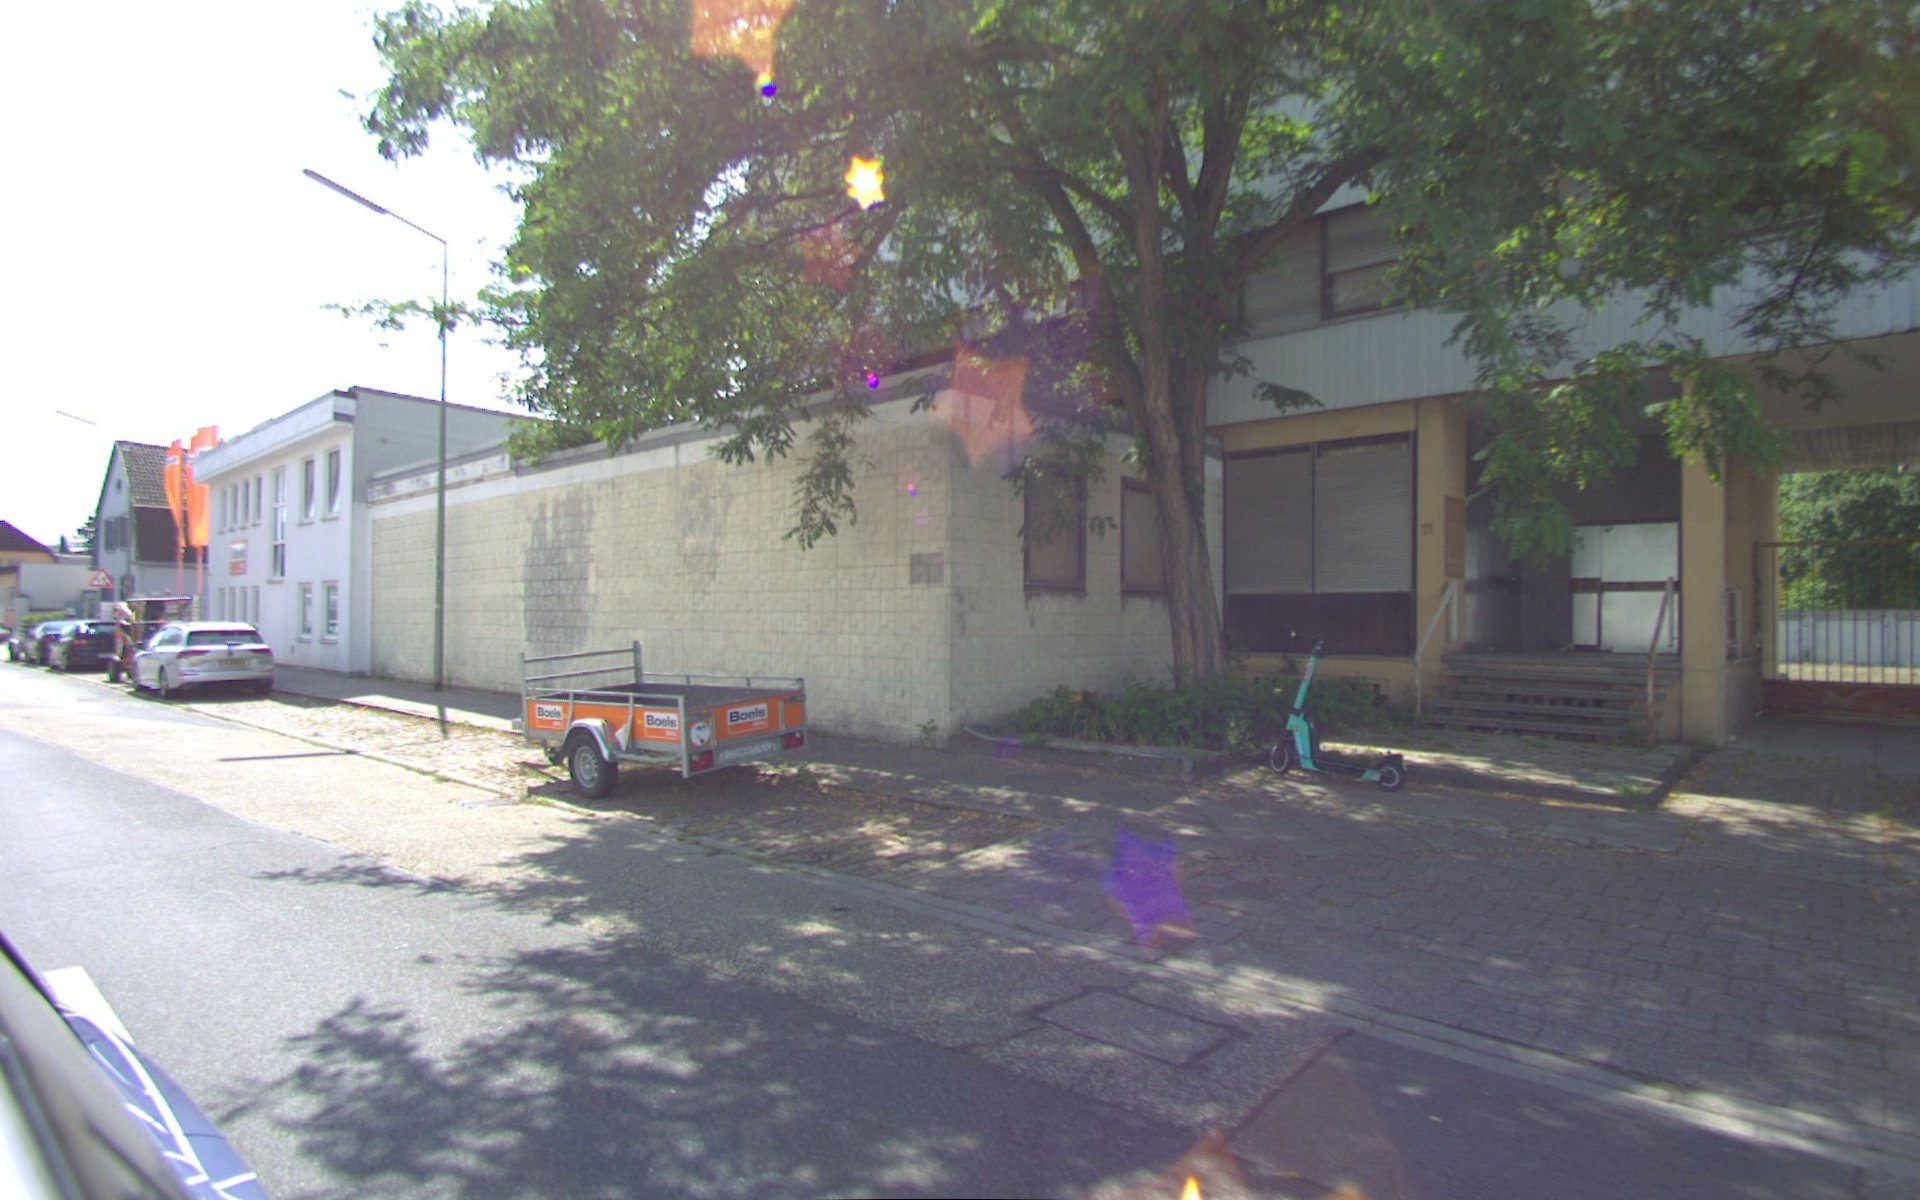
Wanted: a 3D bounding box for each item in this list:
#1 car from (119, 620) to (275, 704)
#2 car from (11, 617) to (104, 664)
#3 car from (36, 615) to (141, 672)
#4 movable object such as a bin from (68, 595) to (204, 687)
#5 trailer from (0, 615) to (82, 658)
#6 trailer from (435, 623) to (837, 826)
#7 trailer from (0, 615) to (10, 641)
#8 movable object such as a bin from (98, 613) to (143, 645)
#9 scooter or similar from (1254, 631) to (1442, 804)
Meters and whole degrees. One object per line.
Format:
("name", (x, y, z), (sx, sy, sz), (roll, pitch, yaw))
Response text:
("car", (-15.446, 1.162, 20.406), (4.512, 1.466, 1.655), (-1, 0, 42))
("car", (-28.888, 1.242, 32.361), (3.881, 1.387, 1.656), (-1, 0, 40))
("car", (-24.808, 1.175, 28.772), (4.221, 1.466, 1.656), (-1, 0, 41))
("movable object such as a bin", (-19.859, 0.938, 24.310), (5.135, 1.933, 1.597), (-1, 2, 41))
("trailer", (-32.558, 1.234, 35.616), (5.047, 1.387, 1.750), (-1, 0, 40))
("trailer", (-3.310, 1.005, 9.853), (4.334, 1.450, 1.748), (-1, 1, 42))
("trailer", (-46.774, 1.309, 47.590), (6.049, 1.173, 2.426), (-1, 0, 41))
("movable object such as a bin", (-38.409, 1.339, 46.281), (1.186, 1.438, 1.304), (-1, -2, 36))
("scooter or similar", (3.183, 0.916, 8.369), (1.360, 1.288, 0.477), (-1, 1, 42))
